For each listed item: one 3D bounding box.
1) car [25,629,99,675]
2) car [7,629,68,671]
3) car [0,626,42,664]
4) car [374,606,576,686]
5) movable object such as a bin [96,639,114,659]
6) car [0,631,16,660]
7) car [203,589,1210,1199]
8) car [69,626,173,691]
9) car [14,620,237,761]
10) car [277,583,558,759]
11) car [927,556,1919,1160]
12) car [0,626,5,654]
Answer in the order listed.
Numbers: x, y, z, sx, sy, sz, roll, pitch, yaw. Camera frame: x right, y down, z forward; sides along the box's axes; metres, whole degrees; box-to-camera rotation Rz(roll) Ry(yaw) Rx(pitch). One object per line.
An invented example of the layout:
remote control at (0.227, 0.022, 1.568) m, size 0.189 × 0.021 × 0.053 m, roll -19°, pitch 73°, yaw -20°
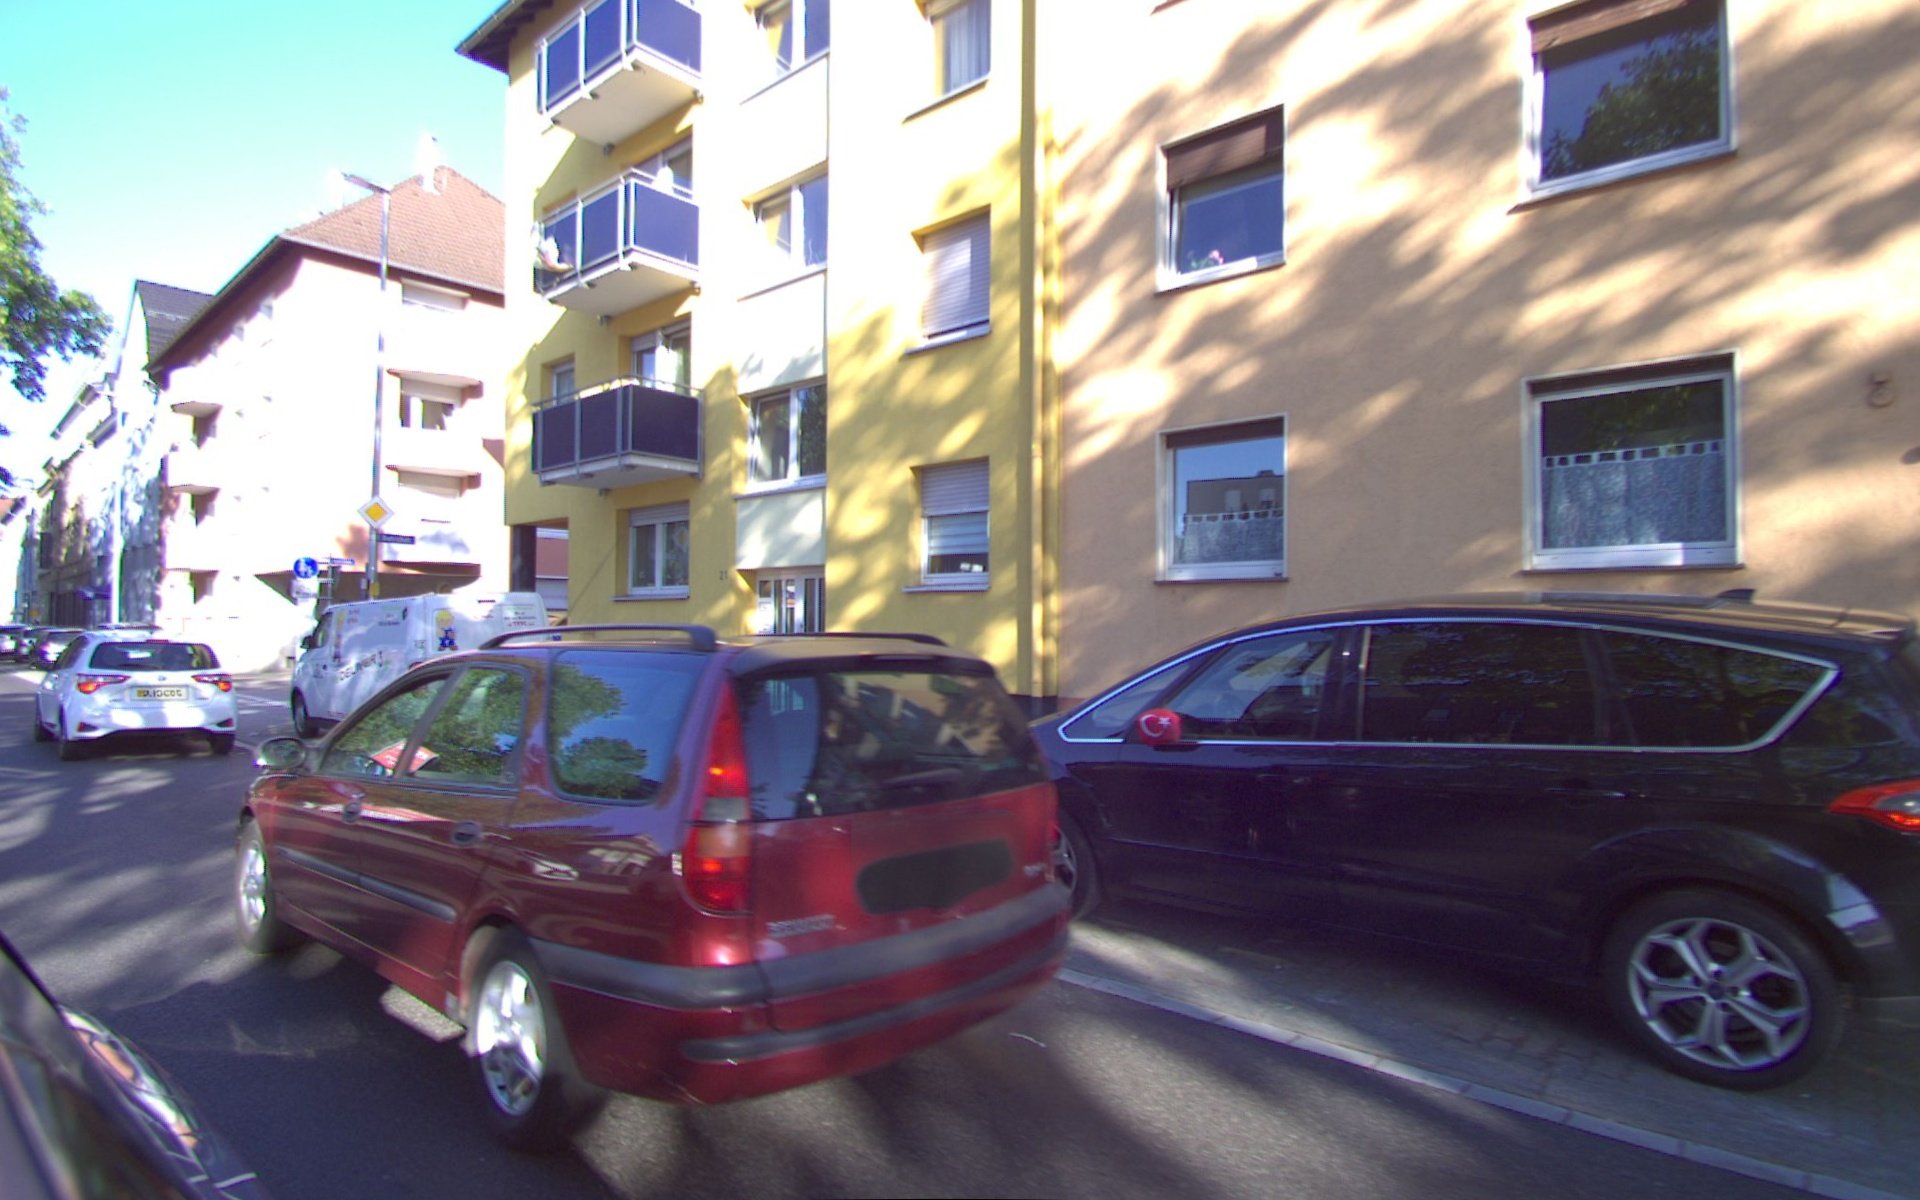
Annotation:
car at (-31.682, 1.804, 35.665) m, size 3.601 × 1.497 × 1.659 m, roll -2°, pitch -1°, yaw 44°
car at (-39.230, 2.071, 43.012) m, size 3.985 × 1.654 × 1.659 m, roll -2°, pitch -1°, yaw 43°
car at (-43.847, 2.059, 46.720) m, size 4.578 × 1.654 × 1.887 m, roll -2°, pitch -1°, yaw 44°
car at (-13.446, 1.263, 28.281) m, size 1.920 × 2.029 × 4.694 m, roll -2°, pitch -3°, yaw 43°
movable object such as a bin at (-40.868, 2.345, 48.381) m, size 0.669 × 0.954 × 0.551 m, roll -2°, pitch -3°, yaw 43°
car at (-51.682, 2.416, 54.018) m, size 3.872 × 1.508 × 1.659 m, roll -2°, pitch -1°, yaw 44°
car at (-1.403, 0.832, 3.994) m, size 4.410 × 1.535 × 1.646 m, roll -2°, pitch -4°, yaw 42°
car at (-22.170, 1.487, 26.706) m, size 4.021 × 1.535 × 1.659 m, roll -2°, pitch -1°, yaw 44°
car at (-10.775, 1.045, 12.978) m, size 3.932 × 1.535 × 1.622 m, roll -2°, pitch -2°, yaw 42°
car at (-7.405, 0.841, 13.516) m, size 5.208 × 1.921 × 1.715 m, roll -2°, pitch -2°, yaw 43°
car at (2.108, 0.803, 4.803) m, size 4.546 × 1.801 × 1.727 m, roll -2°, pitch -1°, yaw 41°
car at (-55.927, 2.305, 57.903) m, size 4.200 × 1.597 × 1.659 m, roll -2°, pitch -1°, yaw 44°
